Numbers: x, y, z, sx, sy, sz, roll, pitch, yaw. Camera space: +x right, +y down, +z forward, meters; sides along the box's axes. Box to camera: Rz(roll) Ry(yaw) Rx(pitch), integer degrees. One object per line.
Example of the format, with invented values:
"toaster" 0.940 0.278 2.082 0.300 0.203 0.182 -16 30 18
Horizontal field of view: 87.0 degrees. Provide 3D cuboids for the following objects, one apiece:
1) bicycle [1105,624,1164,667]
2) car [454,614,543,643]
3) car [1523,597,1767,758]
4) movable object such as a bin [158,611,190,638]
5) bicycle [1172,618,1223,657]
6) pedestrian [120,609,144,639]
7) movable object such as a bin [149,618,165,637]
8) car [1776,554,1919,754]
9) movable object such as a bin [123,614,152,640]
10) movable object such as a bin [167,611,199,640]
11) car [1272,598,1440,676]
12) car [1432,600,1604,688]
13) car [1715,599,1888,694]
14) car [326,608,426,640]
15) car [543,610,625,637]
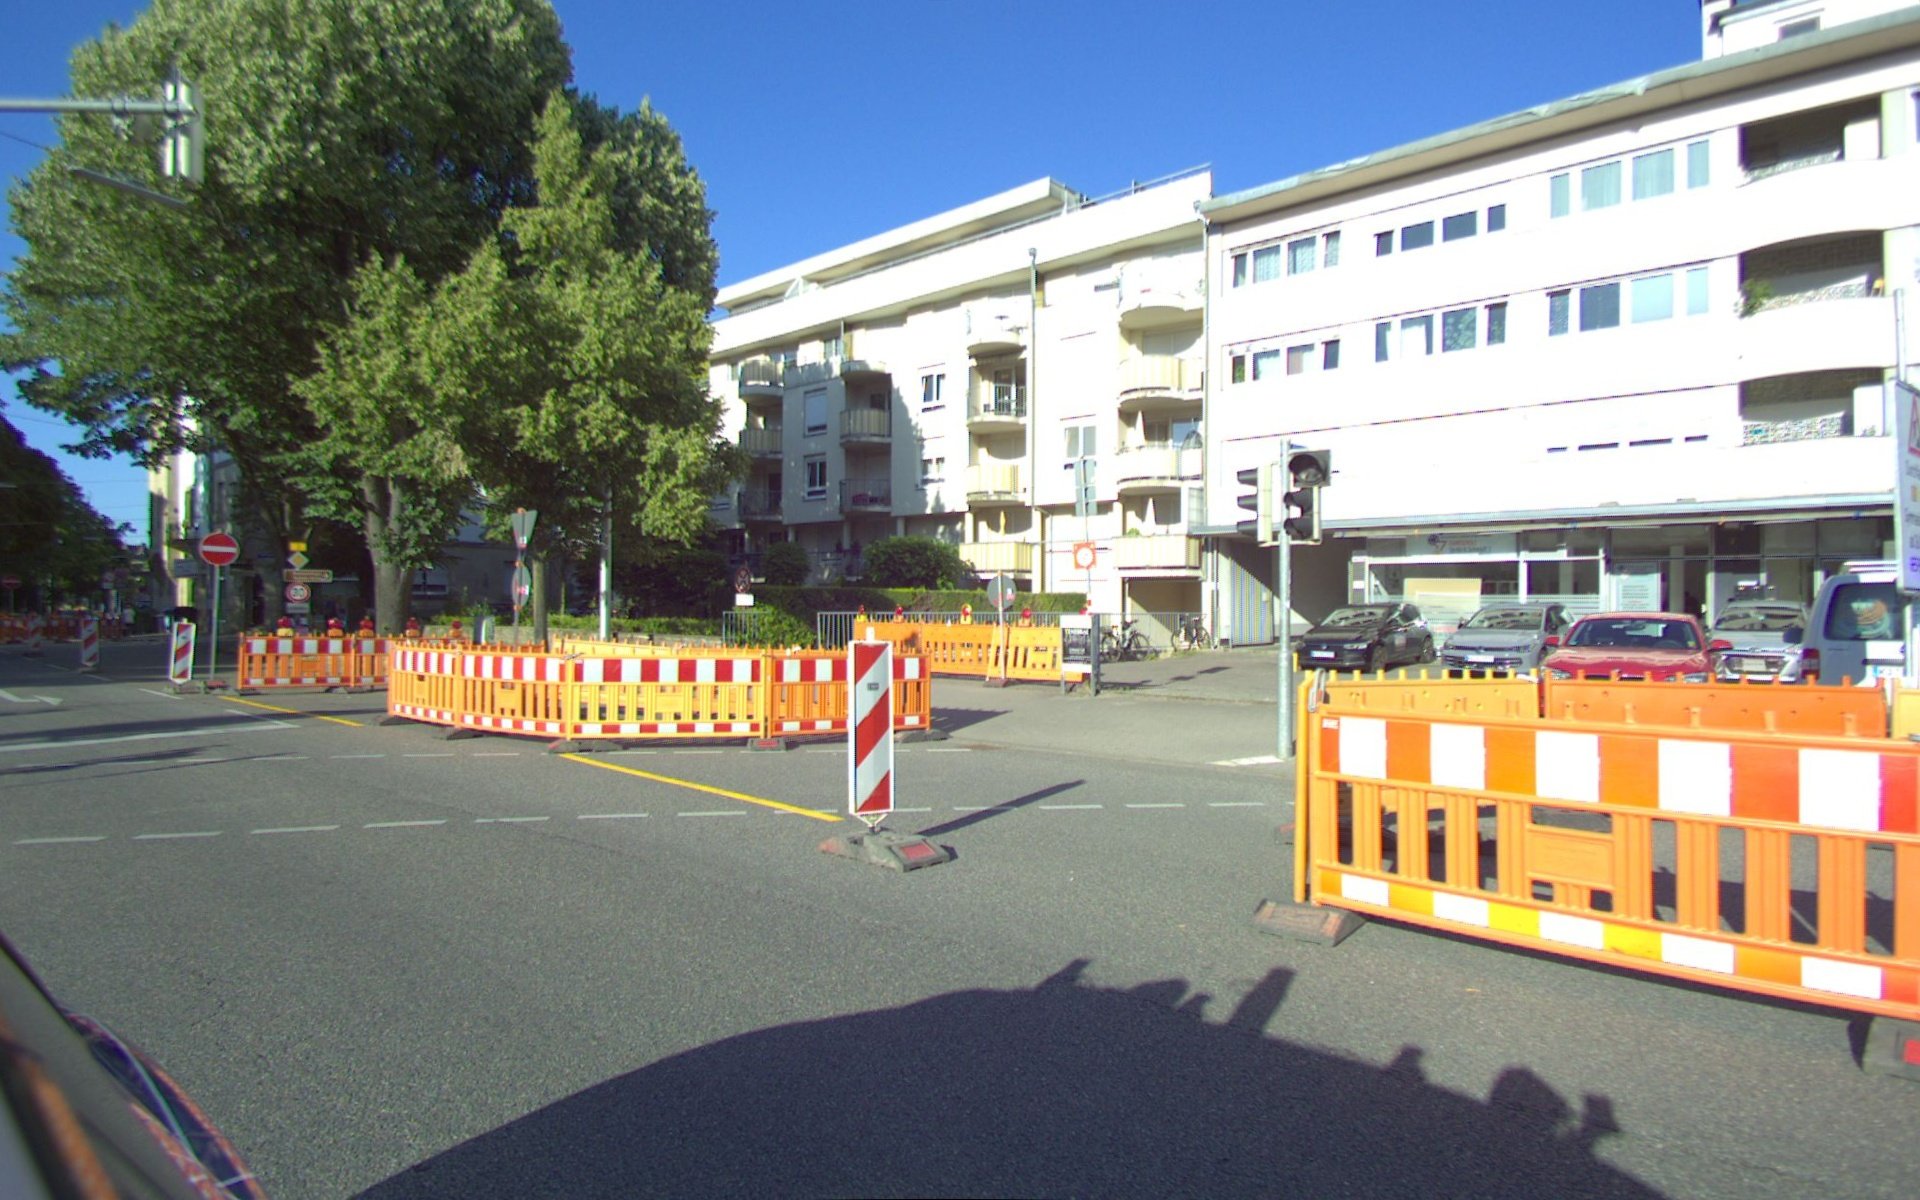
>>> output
"bicycle" 4.613 1.174 26.710 2.004 1.034 0.385 -1 0 -43
"car" -24.879 1.537 54.614 2.001 1.497 3.942 -1 -1 44
"car" 8.454 0.794 12.338 1.999 1.490 3.950 -1 1 41
"movable object such as a bin" -42.326 1.314 54.508 1.406 1.442 1.071 -1 0 40
"bicycle" 6.577 1.038 28.079 1.358 1.054 0.379 -1 0 43
"pedestrian" -45.613 1.305 55.769 0.915 1.615 0.813 -1 0 36
"movable object such as a bin" -44.472 1.525 56.040 0.764 1.049 0.629 -1 0 45
"car" 10.410 0.464 10.937 4.264 1.866 2.001 -1 0 -45
"movable object such as a bin" -48.153 1.570 59.251 1.067 1.442 1.411 -1 0 -30
"movable object such as a bin" -41.026 1.341 53.452 1.344 1.442 1.071 -1 0 40
"car" 8.979 0.757 22.778 2.001 1.523 4.265 -1 0 45
"car" 11.504 0.817 20.735 2.001 1.521 4.265 -1 0 45
"car" 15.062 0.741 18.030 2.001 1.409 4.265 -1 0 45
"car" -29.332 1.188 50.893 2.001 1.564 3.942 -1 -1 44
"car" -21.502 1.318 57.977 2.001 1.497 3.942 -1 -1 44
